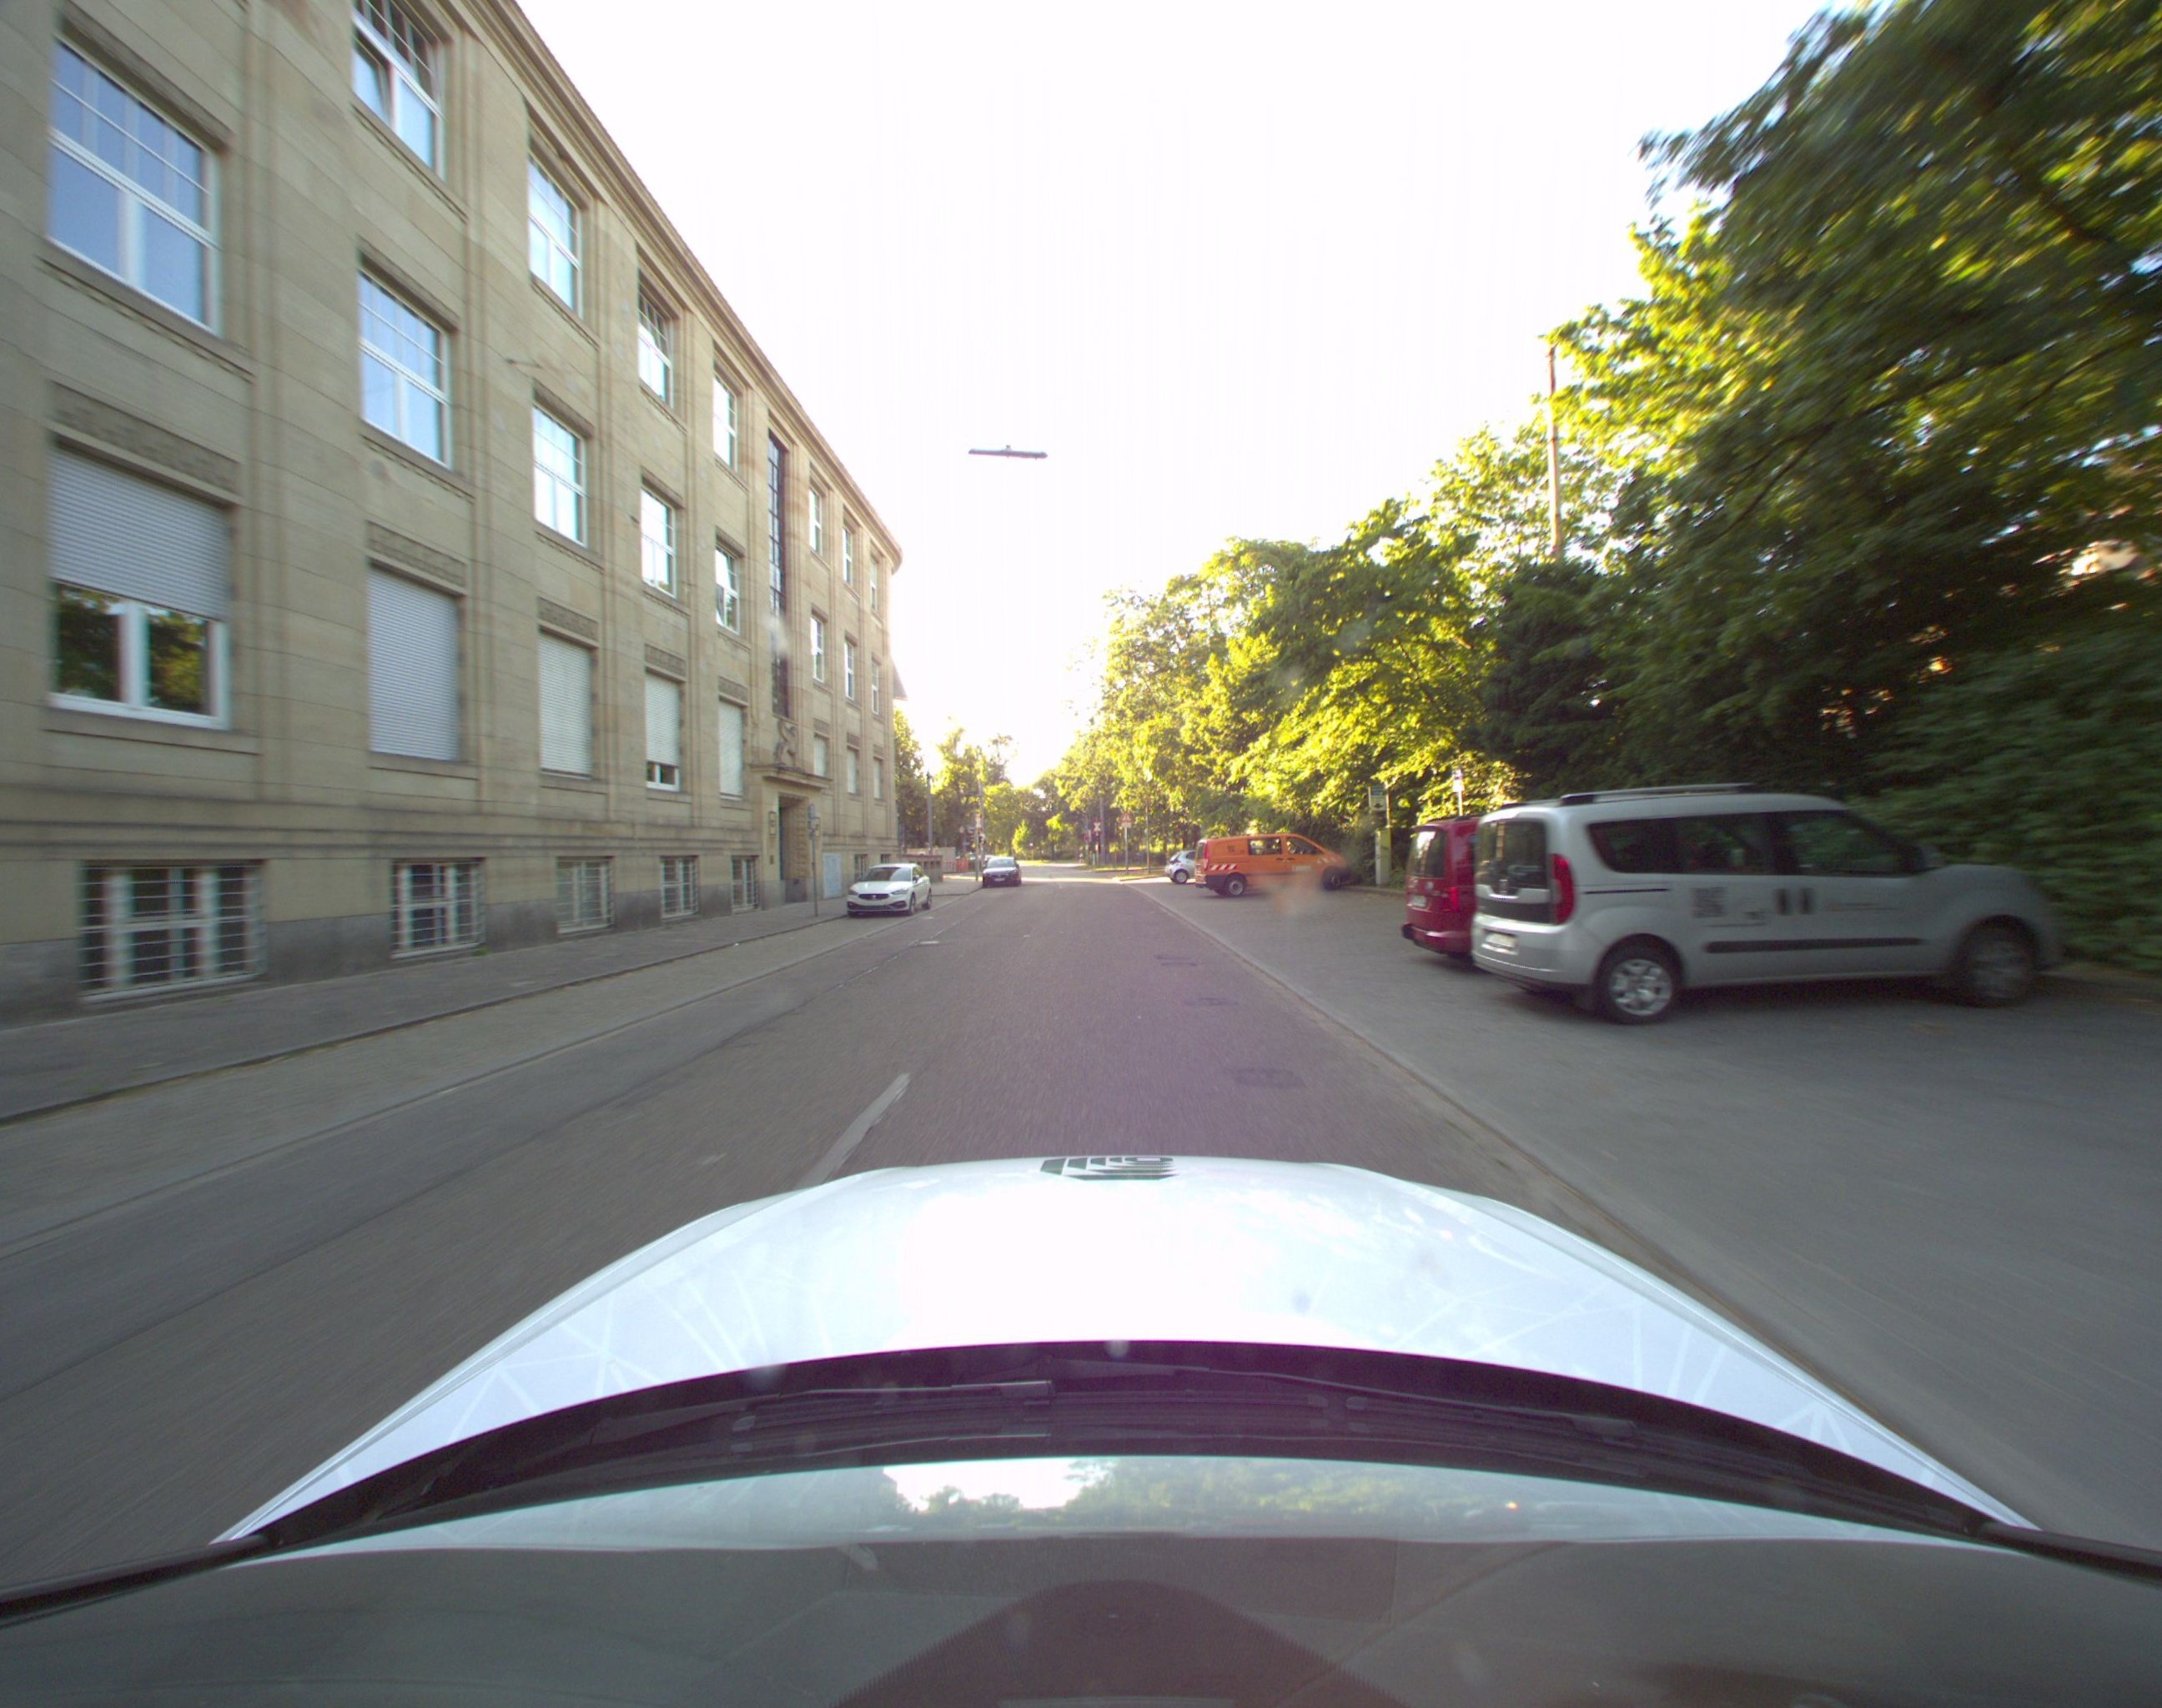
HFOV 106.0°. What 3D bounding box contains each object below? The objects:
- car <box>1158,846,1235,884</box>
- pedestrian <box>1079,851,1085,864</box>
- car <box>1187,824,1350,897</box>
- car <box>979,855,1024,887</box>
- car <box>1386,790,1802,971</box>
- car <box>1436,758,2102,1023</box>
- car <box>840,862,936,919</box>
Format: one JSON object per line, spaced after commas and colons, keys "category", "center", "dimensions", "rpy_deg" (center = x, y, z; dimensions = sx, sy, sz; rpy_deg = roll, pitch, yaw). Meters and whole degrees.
{"category": "car", "center": [5.246, 0.480, 37.256], "dimensions": [3.138, 1.503, 1.538], "rpy_deg": [-4, 0, -5]}
{"category": "pedestrian", "center": [0.159, 0.464, 112.942], "dimensions": [0.822, 1.721, 0.875], "rpy_deg": [-1, -2, 4]}
{"category": "car", "center": [6.094, 0.206, 26.709], "dimensions": [4.810, 2.013, 1.799], "rpy_deg": [-4, 0, -5]}
{"category": "car", "center": [-3.932, 0.815, 40.911], "dimensions": [1.873, 1.466, 4.372], "rpy_deg": [-2, 0, -1]}
{"category": "car", "center": [6.088, 0.305, 10.031], "dimensions": [4.007, 1.835, 1.615], "rpy_deg": [-3, 0, 3]}
{"category": "car", "center": [5.798, 0.303, 7.395], "dimensions": [4.211, 1.859, 2.002], "rpy_deg": [-3, -1, 3]}
{"category": "car", "center": [-5.480, 0.985, 23.666], "dimensions": [1.722, 1.397, 4.371], "rpy_deg": [-1, 0, -1]}
